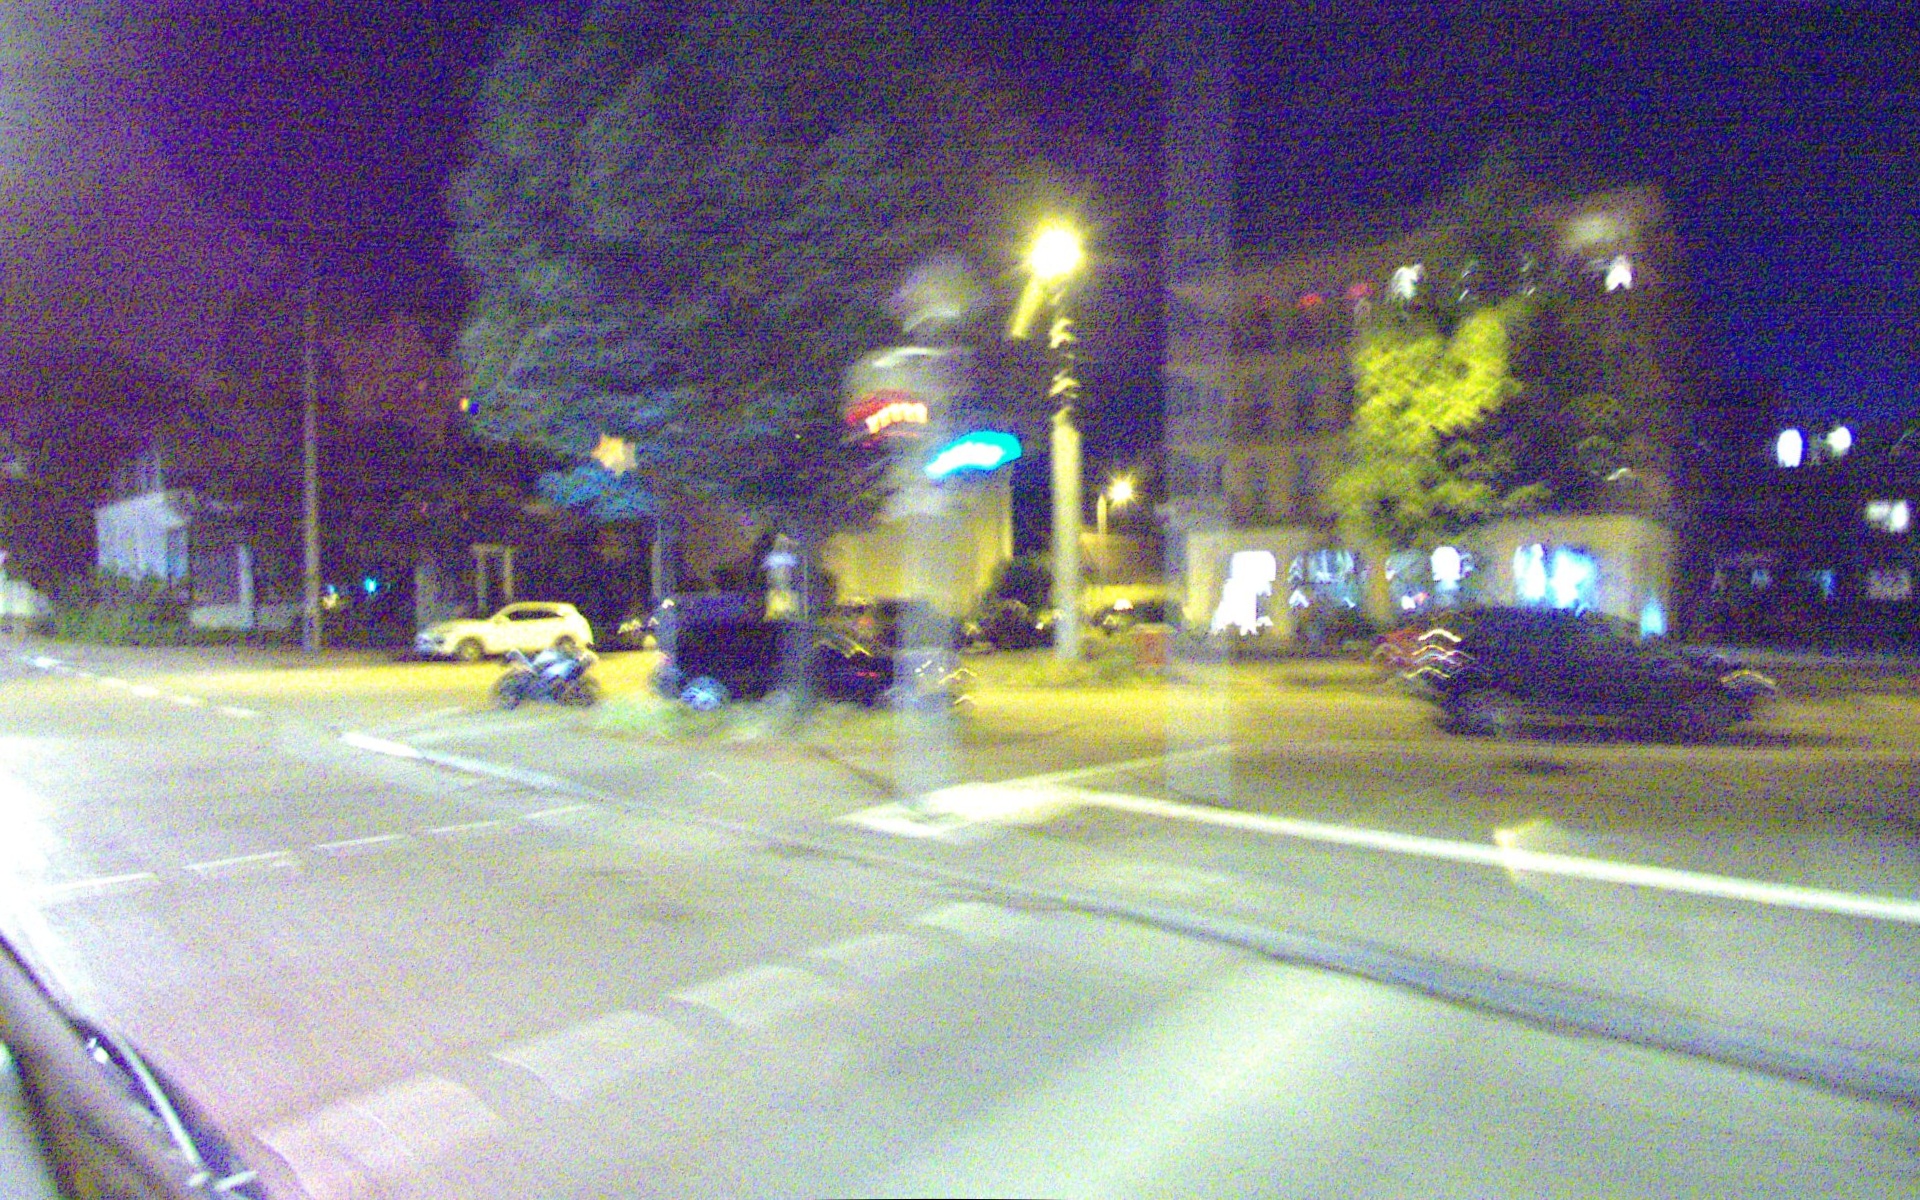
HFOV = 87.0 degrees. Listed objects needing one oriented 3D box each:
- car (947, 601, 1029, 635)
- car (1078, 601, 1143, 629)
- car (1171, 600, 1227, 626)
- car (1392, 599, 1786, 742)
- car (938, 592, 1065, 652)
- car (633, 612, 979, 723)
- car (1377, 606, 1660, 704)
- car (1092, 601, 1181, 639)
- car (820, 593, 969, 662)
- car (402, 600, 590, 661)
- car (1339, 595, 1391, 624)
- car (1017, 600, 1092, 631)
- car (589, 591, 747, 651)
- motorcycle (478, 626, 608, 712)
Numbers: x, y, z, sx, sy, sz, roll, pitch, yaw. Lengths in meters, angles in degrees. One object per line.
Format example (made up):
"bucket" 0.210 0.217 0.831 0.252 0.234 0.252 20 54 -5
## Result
"car" 1.368 0.830 48.050 1.901 1.517 3.947 -1 -1 39
"car" 8.473 0.818 56.645 1.862 1.481 3.947 1 0 39
"car" 15.101 0.826 63.835 1.861 1.549 3.947 1 0 39
"car" 8.211 0.850 13.656 4.069 1.656 1.913 0 2 13
"car" 1.465 0.675 34.321 1.961 1.767 4.293 5 4 42
"car" -2.160 0.920 14.839 4.677 1.435 1.887 0 -1 10
"car" 10.174 0.979 18.789 4.216 1.625 1.835 1 -1 13
"car" 7.353 0.778 41.802 1.920 1.467 4.159 1 0 37
"car" -1.891 0.742 30.135 1.957 1.767 4.292 2 3 42
"car" -13.545 0.839 29.777 2.001 1.641 4.614 1 0 39
"car" 25.362 0.604 63.244 1.930 1.727 4.364 1 0 37
"car" 4.910 0.795 52.272 1.828 1.517 3.944 -1 -1 42
"car" -9.878 0.683 34.607 2.026 1.904 4.939 -1 -1 39
"motorcycle" -6.233 1.001 15.095 2.019 1.188 0.569 0 0 24
